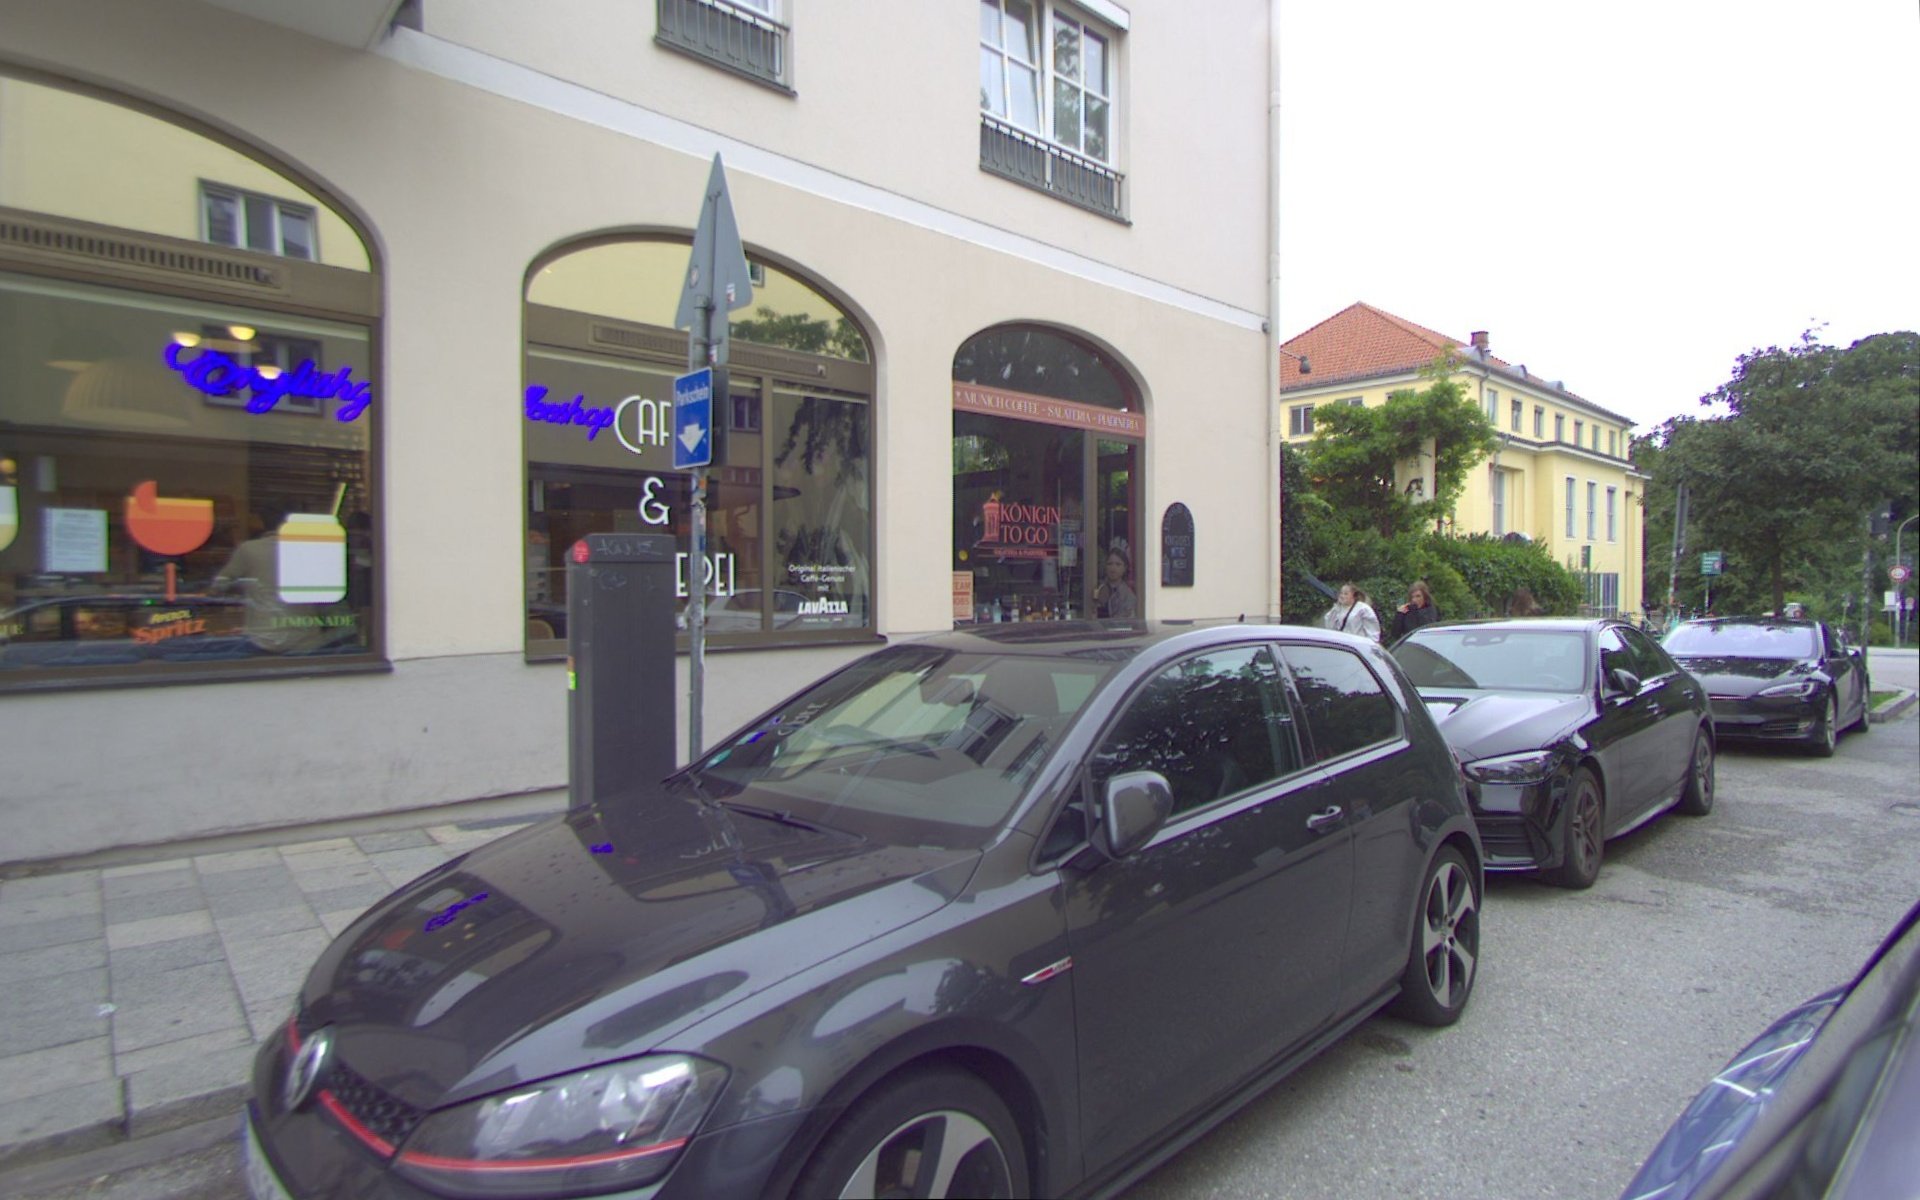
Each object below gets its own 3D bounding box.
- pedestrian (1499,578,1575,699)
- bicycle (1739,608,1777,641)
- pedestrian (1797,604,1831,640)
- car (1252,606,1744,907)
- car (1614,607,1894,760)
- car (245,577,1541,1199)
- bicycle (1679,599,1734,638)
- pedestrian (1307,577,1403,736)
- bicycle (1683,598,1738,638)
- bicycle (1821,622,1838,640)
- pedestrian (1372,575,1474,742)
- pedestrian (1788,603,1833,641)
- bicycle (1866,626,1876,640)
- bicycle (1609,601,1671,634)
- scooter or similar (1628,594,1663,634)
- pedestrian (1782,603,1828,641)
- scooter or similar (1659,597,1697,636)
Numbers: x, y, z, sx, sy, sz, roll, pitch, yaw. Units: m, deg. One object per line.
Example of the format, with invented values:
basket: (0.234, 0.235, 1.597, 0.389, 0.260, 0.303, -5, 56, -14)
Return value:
pedestrian: (8.239, 0.517, 14.455, 0.866, 1.642, 0.706, -2, 2, -43)
bicycle: (26.826, 0.819, 34.029, 1.620, 1.051, 0.308, 3, 1, -27)
pedestrian: (30.607, 0.782, 36.273, 0.883, 1.251, 0.542, 0, -3, 39)
car: (3.943, 0.780, 7.011, 4.433, 1.443, 1.647, 0, -2, -43)
car: (9.395, 0.811, 11.824, 4.575, 1.428, 1.805, 0, 0, -42)
car: (0.300, 0.718, 3.320, 4.133, 1.443, 1.676, 0, -2, -44)
bicycle: (24.810, 0.607, 33.637, 1.623, 1.206, 0.202, 3, 1, 0)
pedestrian: (4.441, 0.595, 11.379, 0.866, 1.682, 0.706, -2, 2, -43)
bicycle: (24.798, 0.604, 33.439, 1.623, 1.213, 0.169, 3, 1, 0)
bicycle: (36.520, 1.302, 42.518, 0.891, 0.684, 0.216, 3, 1, -30)
pedestrian: (4.955, 0.583, 10.821, 0.866, 1.682, 0.706, -2, 2, -43)
pedestrian: (30.118, 0.769, 35.859, 1.172, 1.310, 0.630, 0, -3, 39)
bicycle: (45.021, 1.635, 50.008, 0.893, 0.665, 0.242, 3, 1, -41)
bicycle: (22.864, 0.585, 34.053, 1.637, 1.005, 0.246, 4, 1, 26)
scooter or similar: (22.472, 0.466, 33.171, 1.363, 1.263, 0.397, 2, 0, -33)
pedestrian: (29.414, 0.771, 35.255, 1.210, 1.264, 0.630, 0, -3, 39)
scooter or similar: (23.122, 0.517, 32.619, 0.317, 1.228, 1.118, 2, 0, -4)
